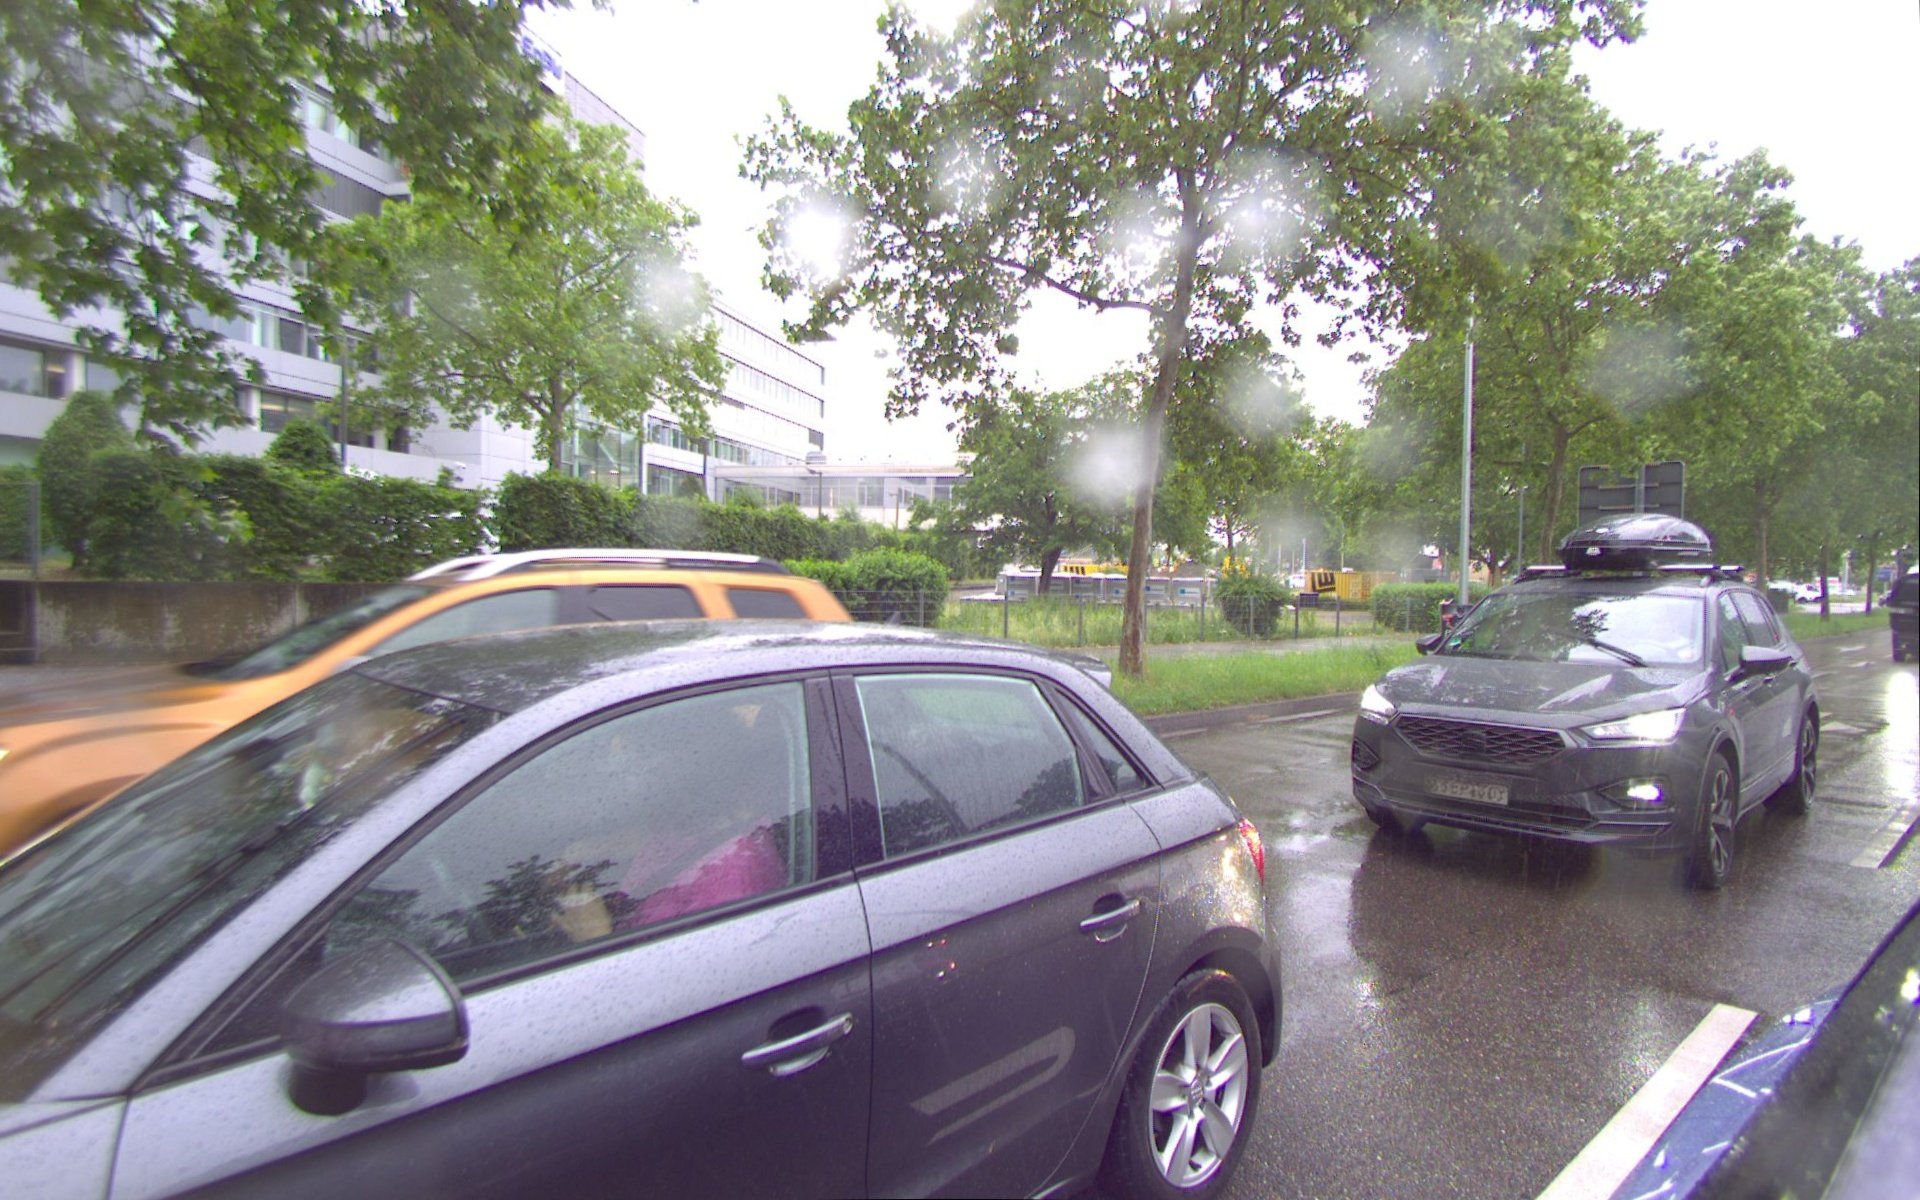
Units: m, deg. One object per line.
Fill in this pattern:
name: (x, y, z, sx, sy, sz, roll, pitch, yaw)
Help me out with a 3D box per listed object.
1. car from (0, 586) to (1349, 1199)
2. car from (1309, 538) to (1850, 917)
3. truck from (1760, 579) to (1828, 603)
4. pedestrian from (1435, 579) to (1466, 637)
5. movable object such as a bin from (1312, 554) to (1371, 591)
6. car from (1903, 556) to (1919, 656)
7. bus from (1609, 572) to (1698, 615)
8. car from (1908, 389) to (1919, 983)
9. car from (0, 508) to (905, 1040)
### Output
car: (-0.895, 0.705, 2.148, 3.715, 1.446, 1.679, 0, 1, -41)
car: (4.329, 0.552, 6.754, 4.347, 1.719, 1.892, 0, 1, -42)
truck: (85.206, -0.940, 103.454, 4.988, 2.406, 1.785, 0, 0, 19)
pedestrian: (15.088, 0.241, 31.123, 0.645, 1.738, 0.645, 0, 0, -40)
movable object such as a bin: (36.101, -2.566, 95.805, 4.838, 3.478, 1.921, 0, 0, -6)
car: (26.222, 0.158, 26.441, 5.227, 2.476, 1.892, 0, 1, -42)
bus: (43.732, -0.428, 63.913, 1.681, 2.600, 4.366, 0, 0, -41)
car: (6.317, 0.180, 4.960, 5.599, 2.544, 2.024, 0, 1, -43)
car: (-2.383, 0.582, 4.978, 4.074, 1.707, 1.677, 1, -1, -41)
